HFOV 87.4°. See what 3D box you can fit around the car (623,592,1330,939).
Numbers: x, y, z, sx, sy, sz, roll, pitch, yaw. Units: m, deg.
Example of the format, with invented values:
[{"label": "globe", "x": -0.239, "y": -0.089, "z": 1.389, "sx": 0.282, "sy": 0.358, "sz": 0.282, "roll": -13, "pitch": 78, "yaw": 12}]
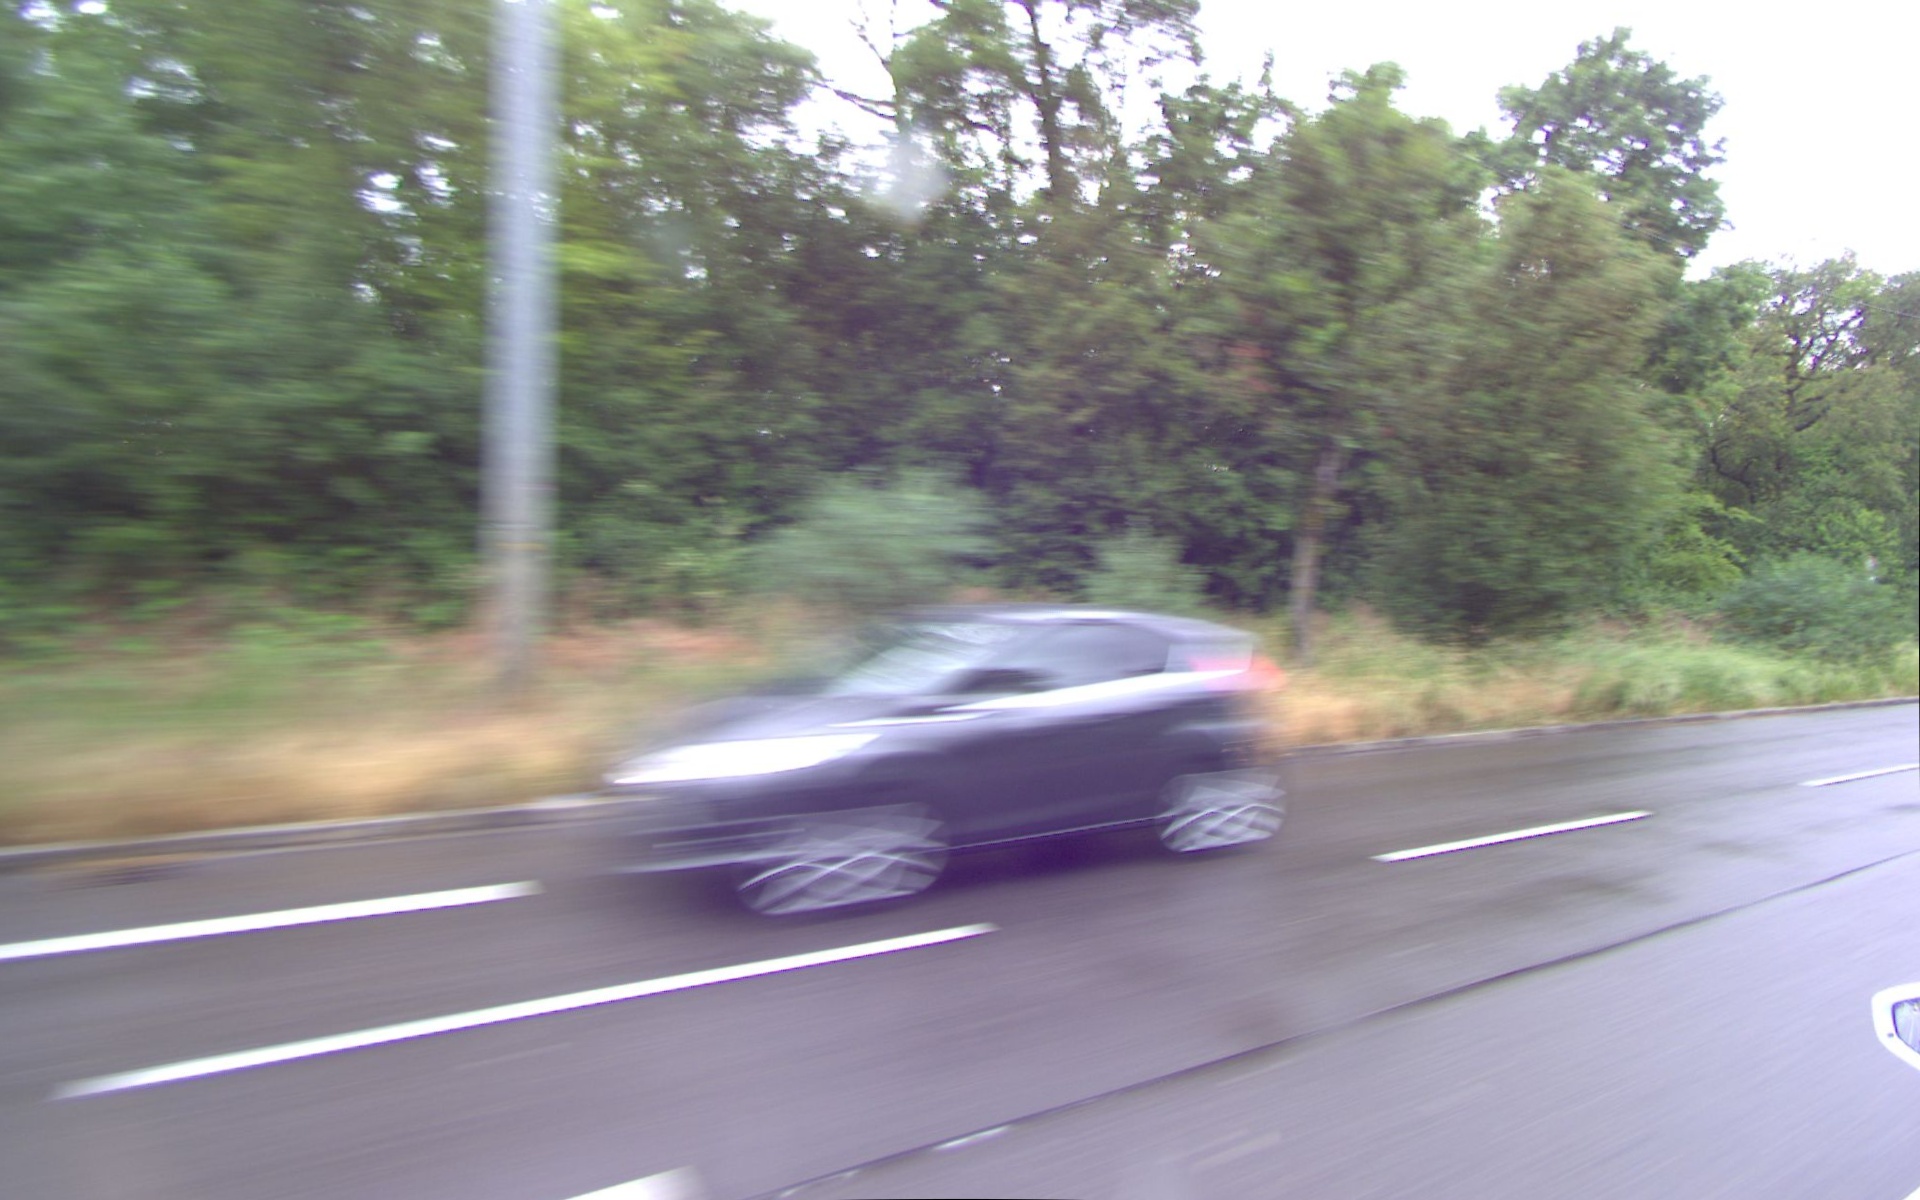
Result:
[{"label": "car", "x": 0.220, "y": 0.725, "z": 5.939, "sx": 3.945, "sy": 1.460, "sz": 1.590, "roll": 1, "pitch": 0, "yaw": -32}]
